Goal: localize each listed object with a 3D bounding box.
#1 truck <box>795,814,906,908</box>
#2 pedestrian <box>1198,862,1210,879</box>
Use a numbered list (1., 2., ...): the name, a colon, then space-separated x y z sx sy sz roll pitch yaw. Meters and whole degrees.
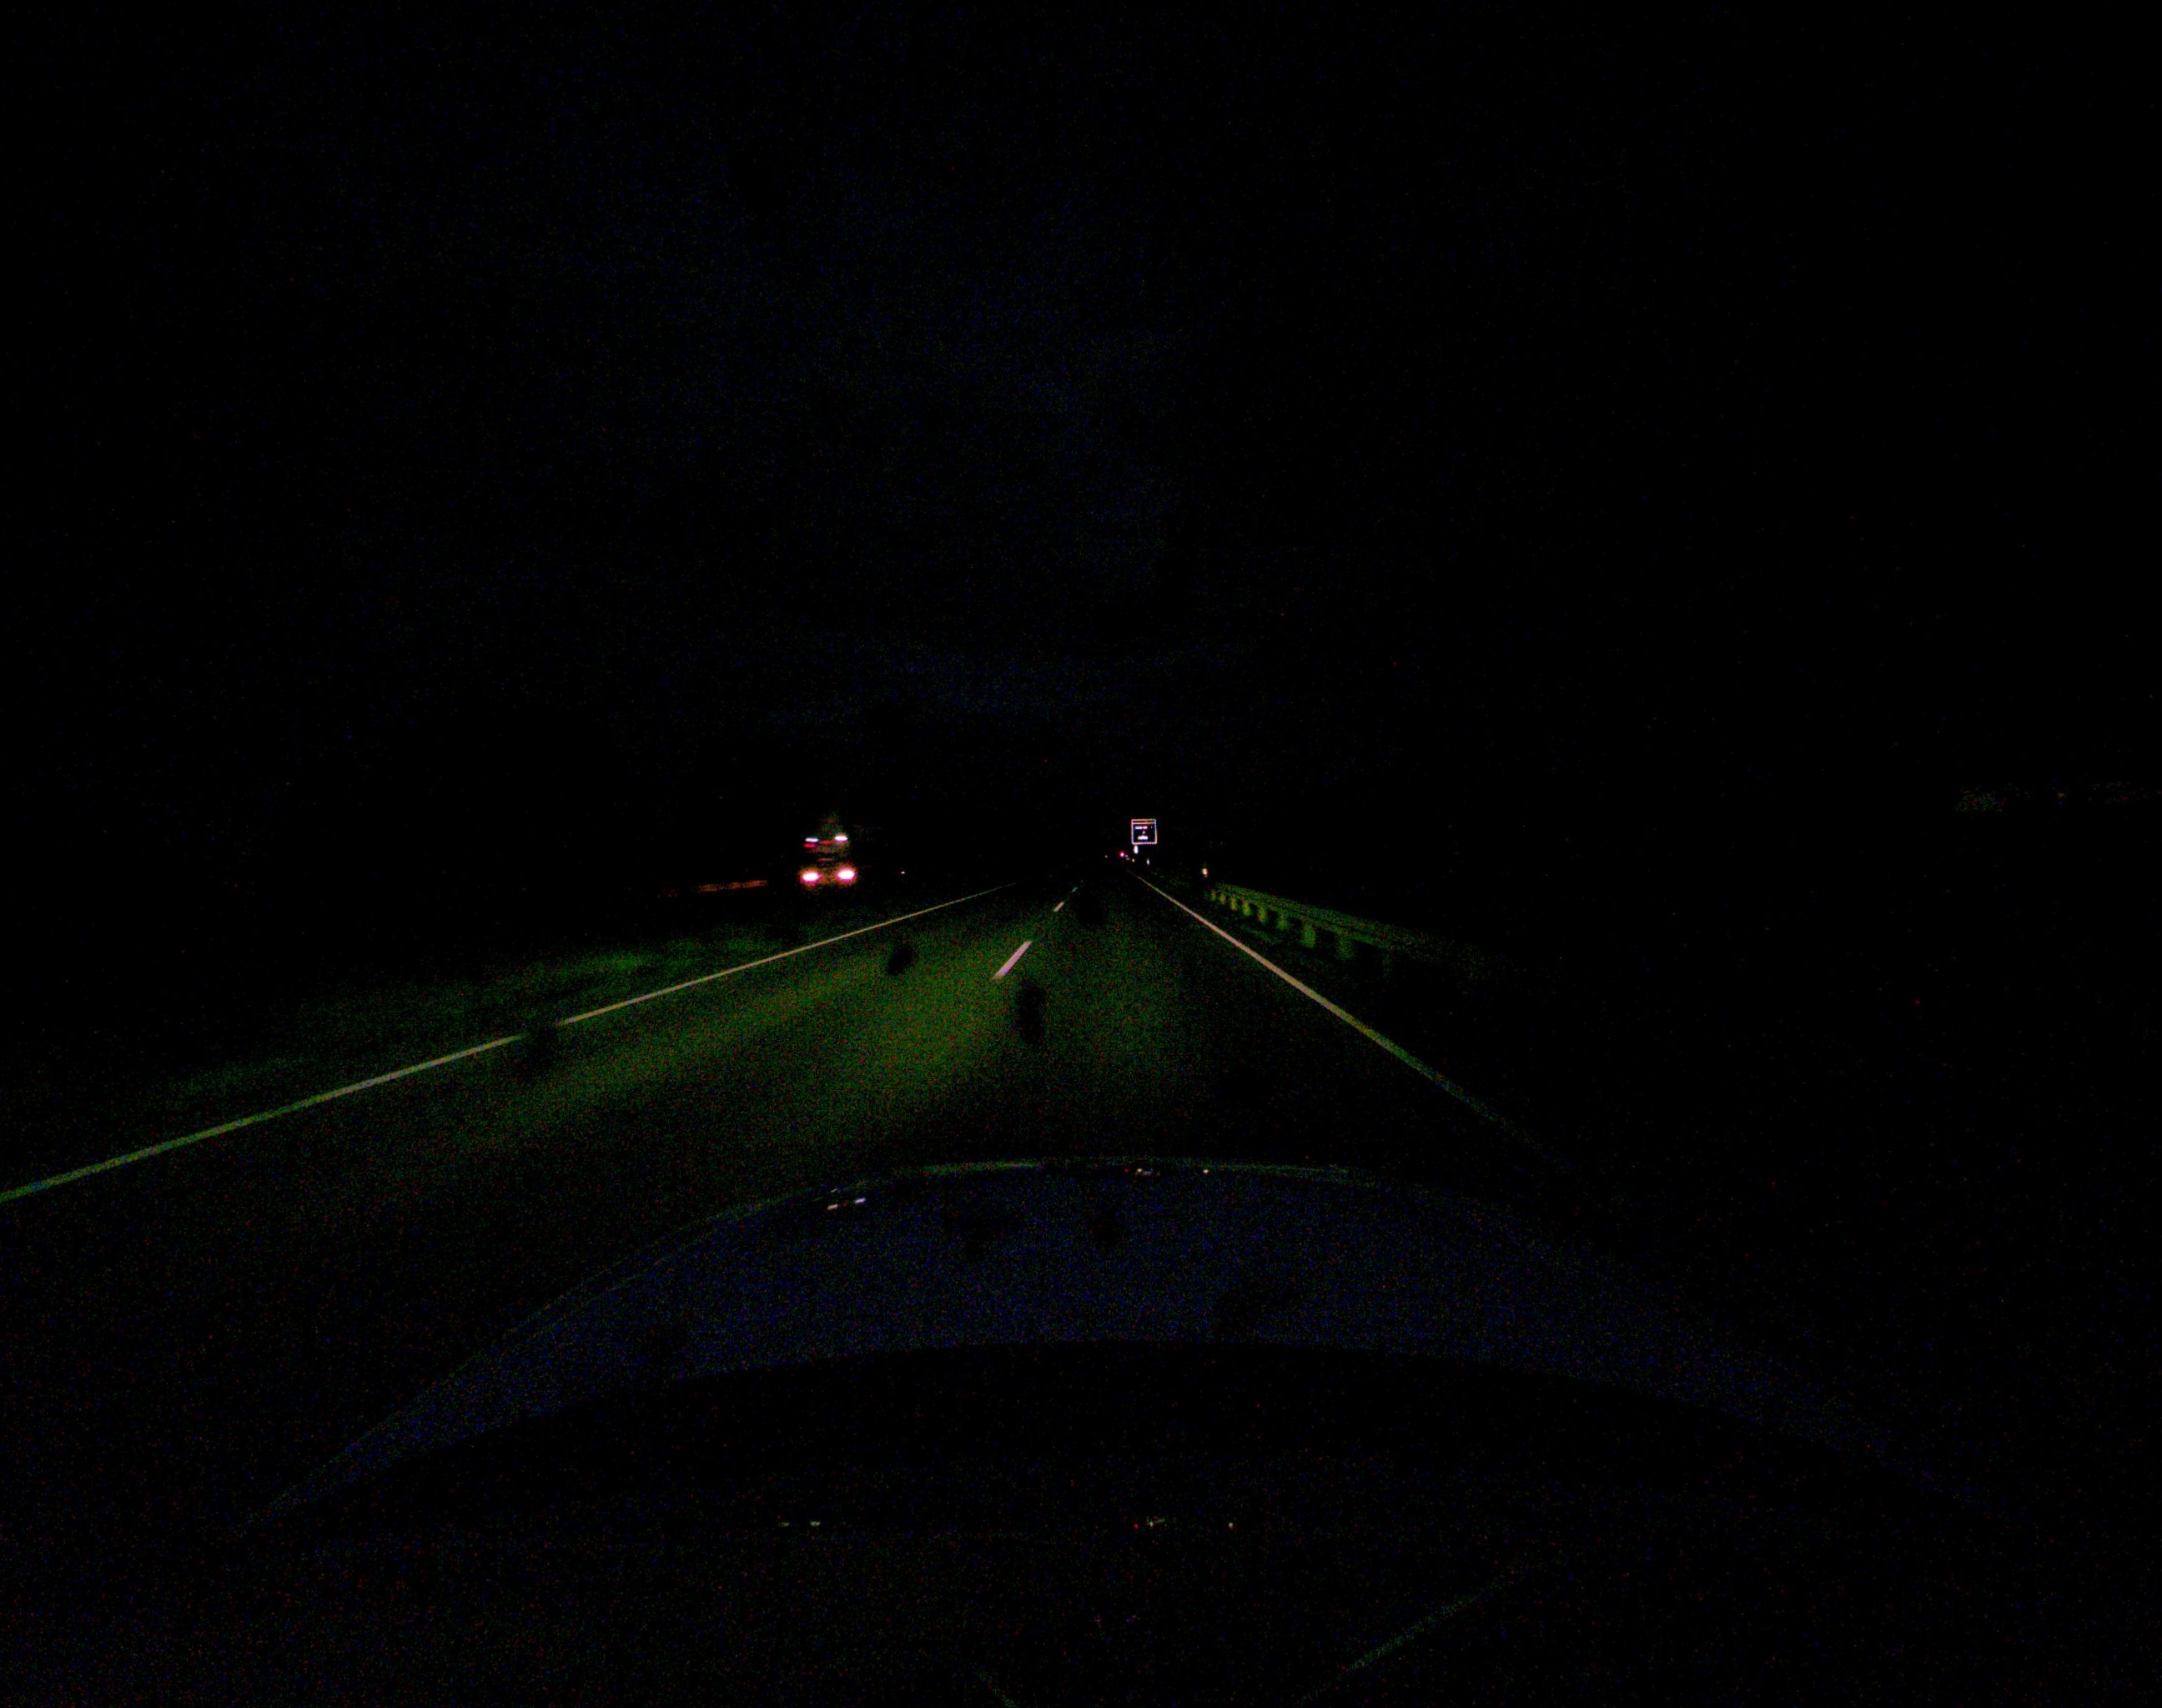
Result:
1. truck: -14.218 0.404 51.803 3.191 5.256 12.612 0 0 1
2. pedestrian: 12.149 1.613 80.746 1.058 1.643 1.119 0 -1 2
